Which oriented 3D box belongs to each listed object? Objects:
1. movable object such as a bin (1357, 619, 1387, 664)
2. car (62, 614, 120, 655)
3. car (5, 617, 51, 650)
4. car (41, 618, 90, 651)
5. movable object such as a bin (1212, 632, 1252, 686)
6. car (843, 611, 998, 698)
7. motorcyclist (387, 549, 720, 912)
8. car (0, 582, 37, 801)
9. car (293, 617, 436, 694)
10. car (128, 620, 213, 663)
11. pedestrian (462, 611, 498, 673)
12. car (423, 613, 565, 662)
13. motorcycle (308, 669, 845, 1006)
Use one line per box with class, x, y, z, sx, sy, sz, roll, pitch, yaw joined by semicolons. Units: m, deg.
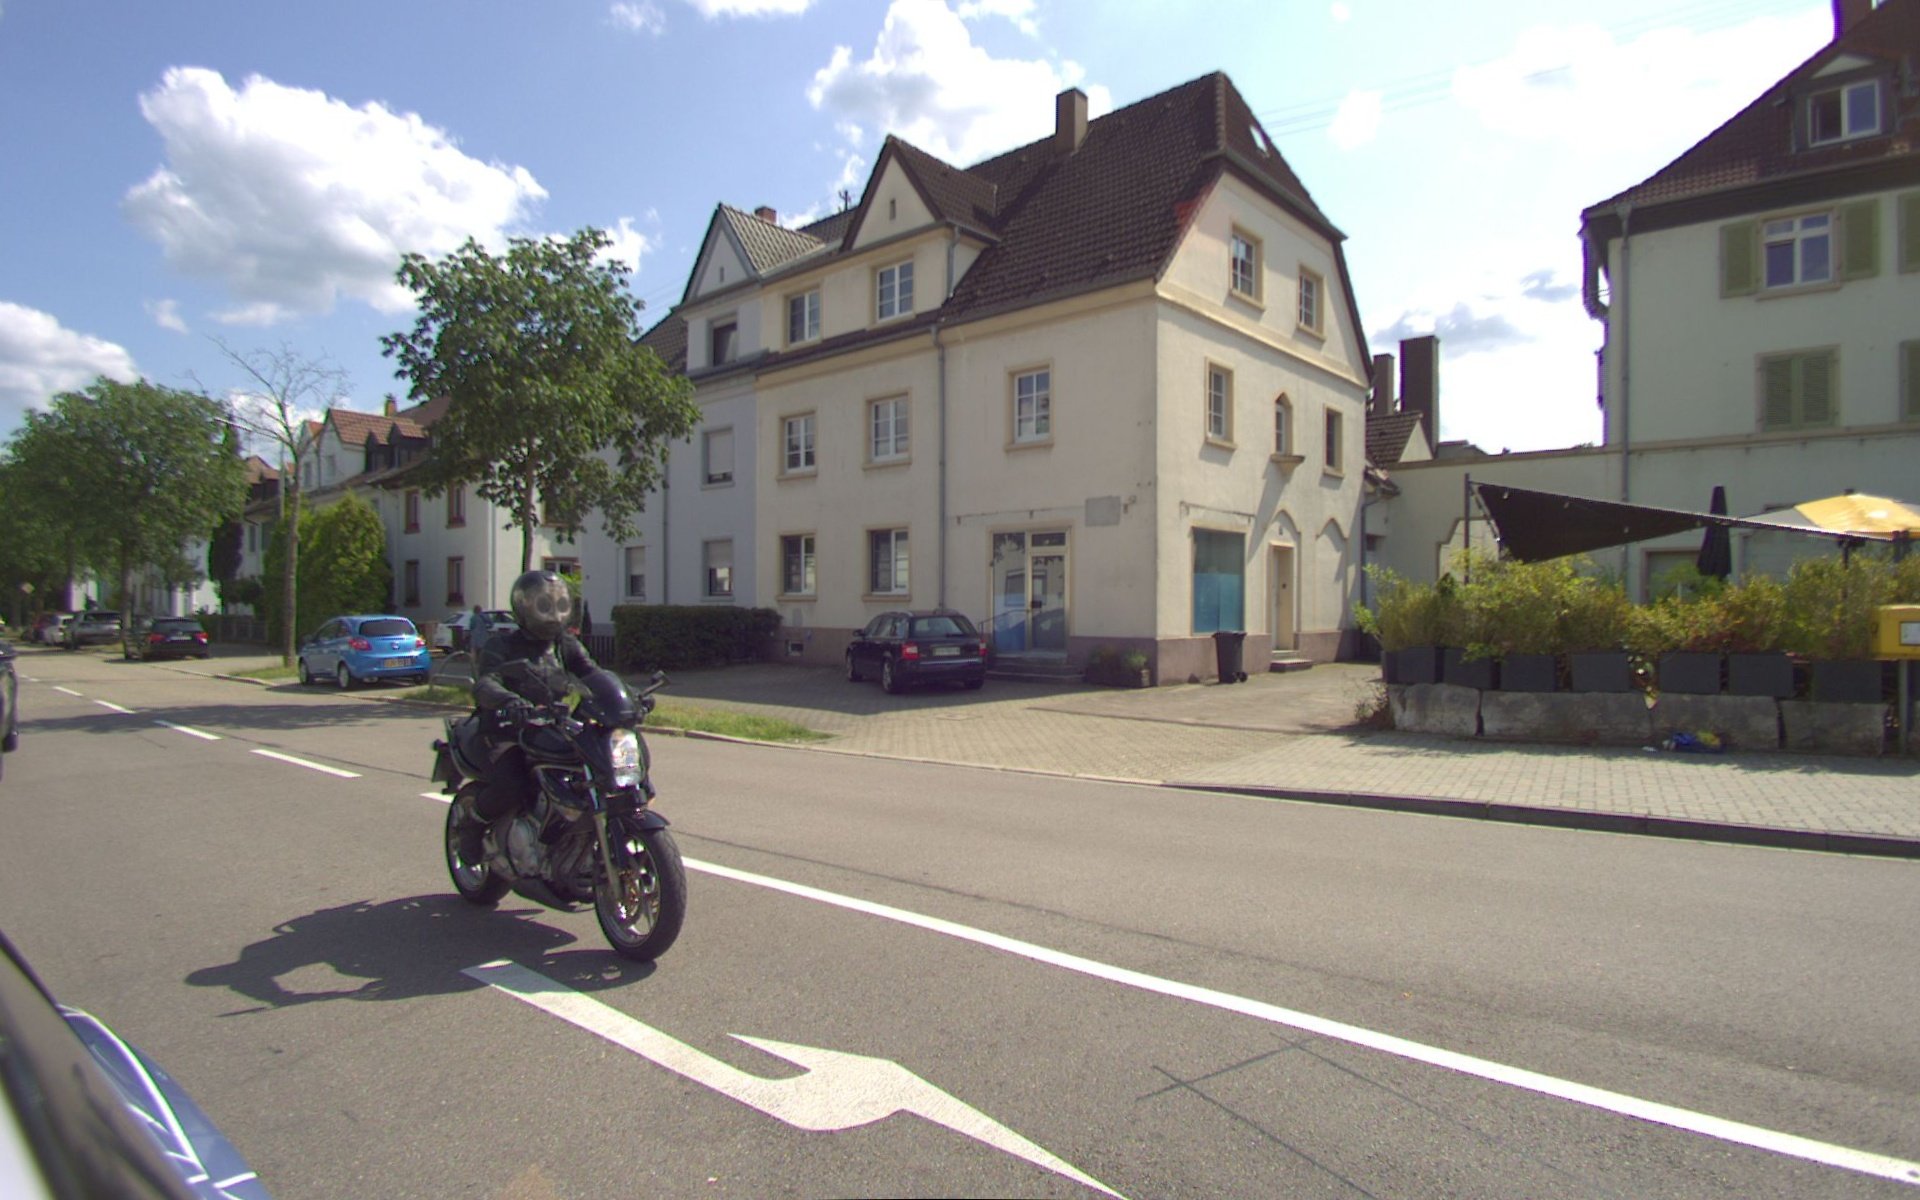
movable object such as a bin;10.001;0.997;24.572;0.510;1.053;0.607;-1;-2;41
car;-36.300;1.418;42.274;3.575;1.667;1.541;-1;-2;45
car;-47.844;1.696;51.938;3.252;1.667;1.541;-1;-2;45
car;-40.865;1.564;46.198;1.601;1.436;3.004;0;-1;-43
movable object such as a bin;5.124;1.106;19.031;0.510;0.979;0.607;-1;-2;41
car;-0.858;0.920;18.538;1.732;1.397;4.115;0;-1;-19
motorcyclist;-1.800;0.535;4.537;1.093;1.409;0.819;-4;-2;24
car;-10.032;0.767;9.330;4.873;1.777;1.753;-1;-1;42
car;-12.506;1.100;21.218;3.153;1.473;1.687;-1;-1;41
car;-25.829;1.327;33.072;3.919;1.306;1.686;-1;-1;45
pedestrian;-12.116;1.046;25.536;0.618;1.547;0.623;-1;-2;42
car;-14.835;1.164;32.339;1.711;1.465;3.753;-1;-1;44
motorcycle;-1.738;0.915;4.522;2.344;1.136;0.837;-1;-1;24
